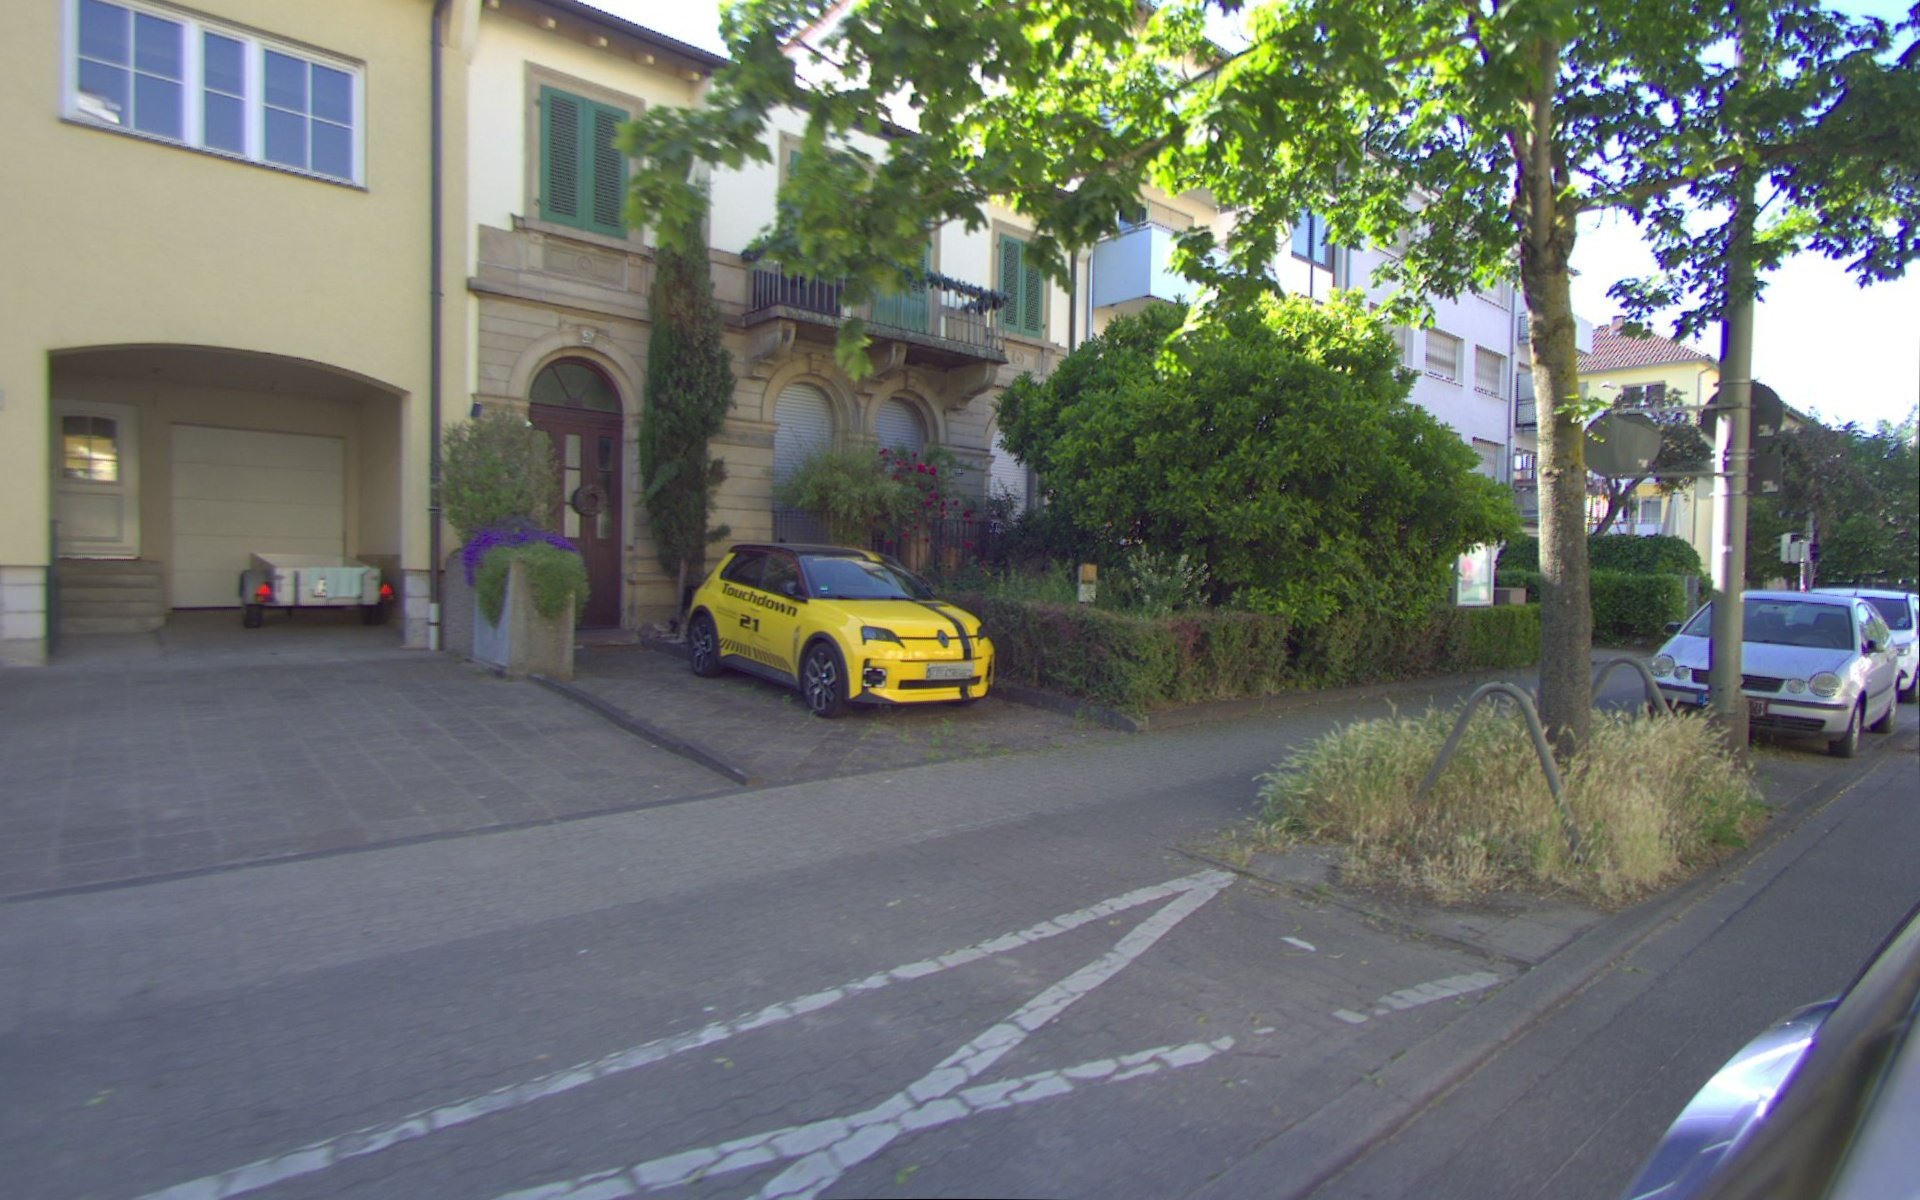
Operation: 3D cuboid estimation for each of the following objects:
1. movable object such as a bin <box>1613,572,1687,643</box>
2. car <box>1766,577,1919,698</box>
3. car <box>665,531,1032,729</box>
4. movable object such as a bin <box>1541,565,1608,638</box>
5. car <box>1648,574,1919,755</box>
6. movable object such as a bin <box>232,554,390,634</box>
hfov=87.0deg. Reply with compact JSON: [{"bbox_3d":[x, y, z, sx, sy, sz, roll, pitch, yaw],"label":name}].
[{"bbox_3d":[14.472,0.136,21.235,1.137,1.371,0.831,5,4,40],"label":"movable object such as a bin"},{"bbox_3d":[13.568,0.459,14.997,4.122,1.500,1.743,-1,4,-41],"label":"car"},{"bbox_3d":[-1.325,0.143,10.430,1.799,1.458,3.998,0,6,-40],"label":"car"},{"bbox_3d":[13.335,0.021,21.963,1.086,1.491,0.831,4,3,40],"label":"movable object such as a bin"},{"bbox_3d":[8.604,0.512,10.434,3.799,1.474,1.570,-1,4,-42],"label":"car"},{"bbox_3d":[-8.532,-0.110,13.281,1.464,0.905,1.779,-1,4,-43],"label":"movable object such as a bin"}]
